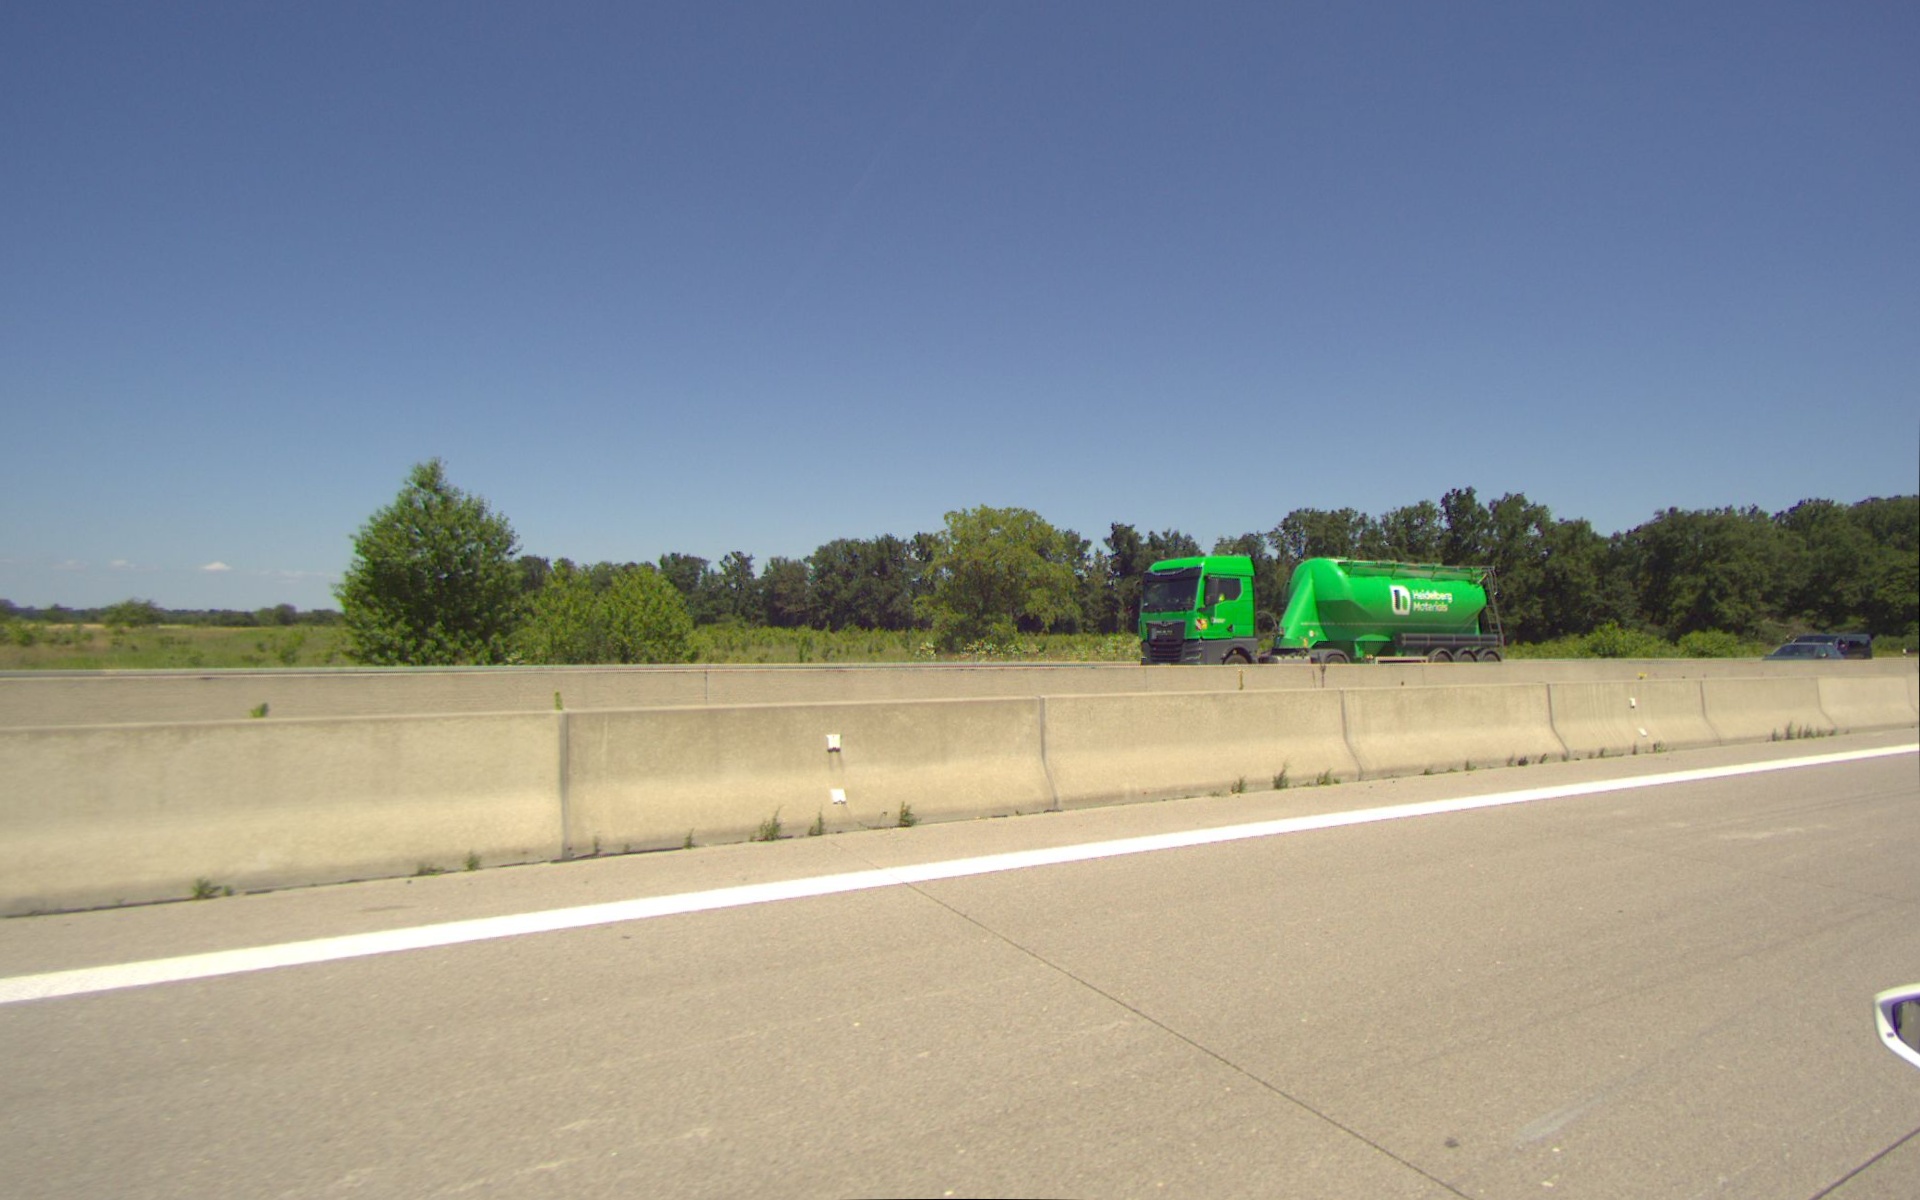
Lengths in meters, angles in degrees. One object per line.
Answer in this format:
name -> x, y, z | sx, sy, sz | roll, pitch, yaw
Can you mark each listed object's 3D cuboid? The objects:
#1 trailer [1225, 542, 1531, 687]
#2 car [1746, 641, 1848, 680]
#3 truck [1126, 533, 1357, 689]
trailer -> 13.210, 0.541, 31.172 | 10.974, 3.929, 2.722 | 2, -1, -30
car -> 31.215, 2.222, 37.461 | 3.953, 1.351, 1.688 | 1, -1, -30
truck -> 7.919, 0.374, 28.081 | 6.131, 3.934, 2.731 | 2, -1, -30
